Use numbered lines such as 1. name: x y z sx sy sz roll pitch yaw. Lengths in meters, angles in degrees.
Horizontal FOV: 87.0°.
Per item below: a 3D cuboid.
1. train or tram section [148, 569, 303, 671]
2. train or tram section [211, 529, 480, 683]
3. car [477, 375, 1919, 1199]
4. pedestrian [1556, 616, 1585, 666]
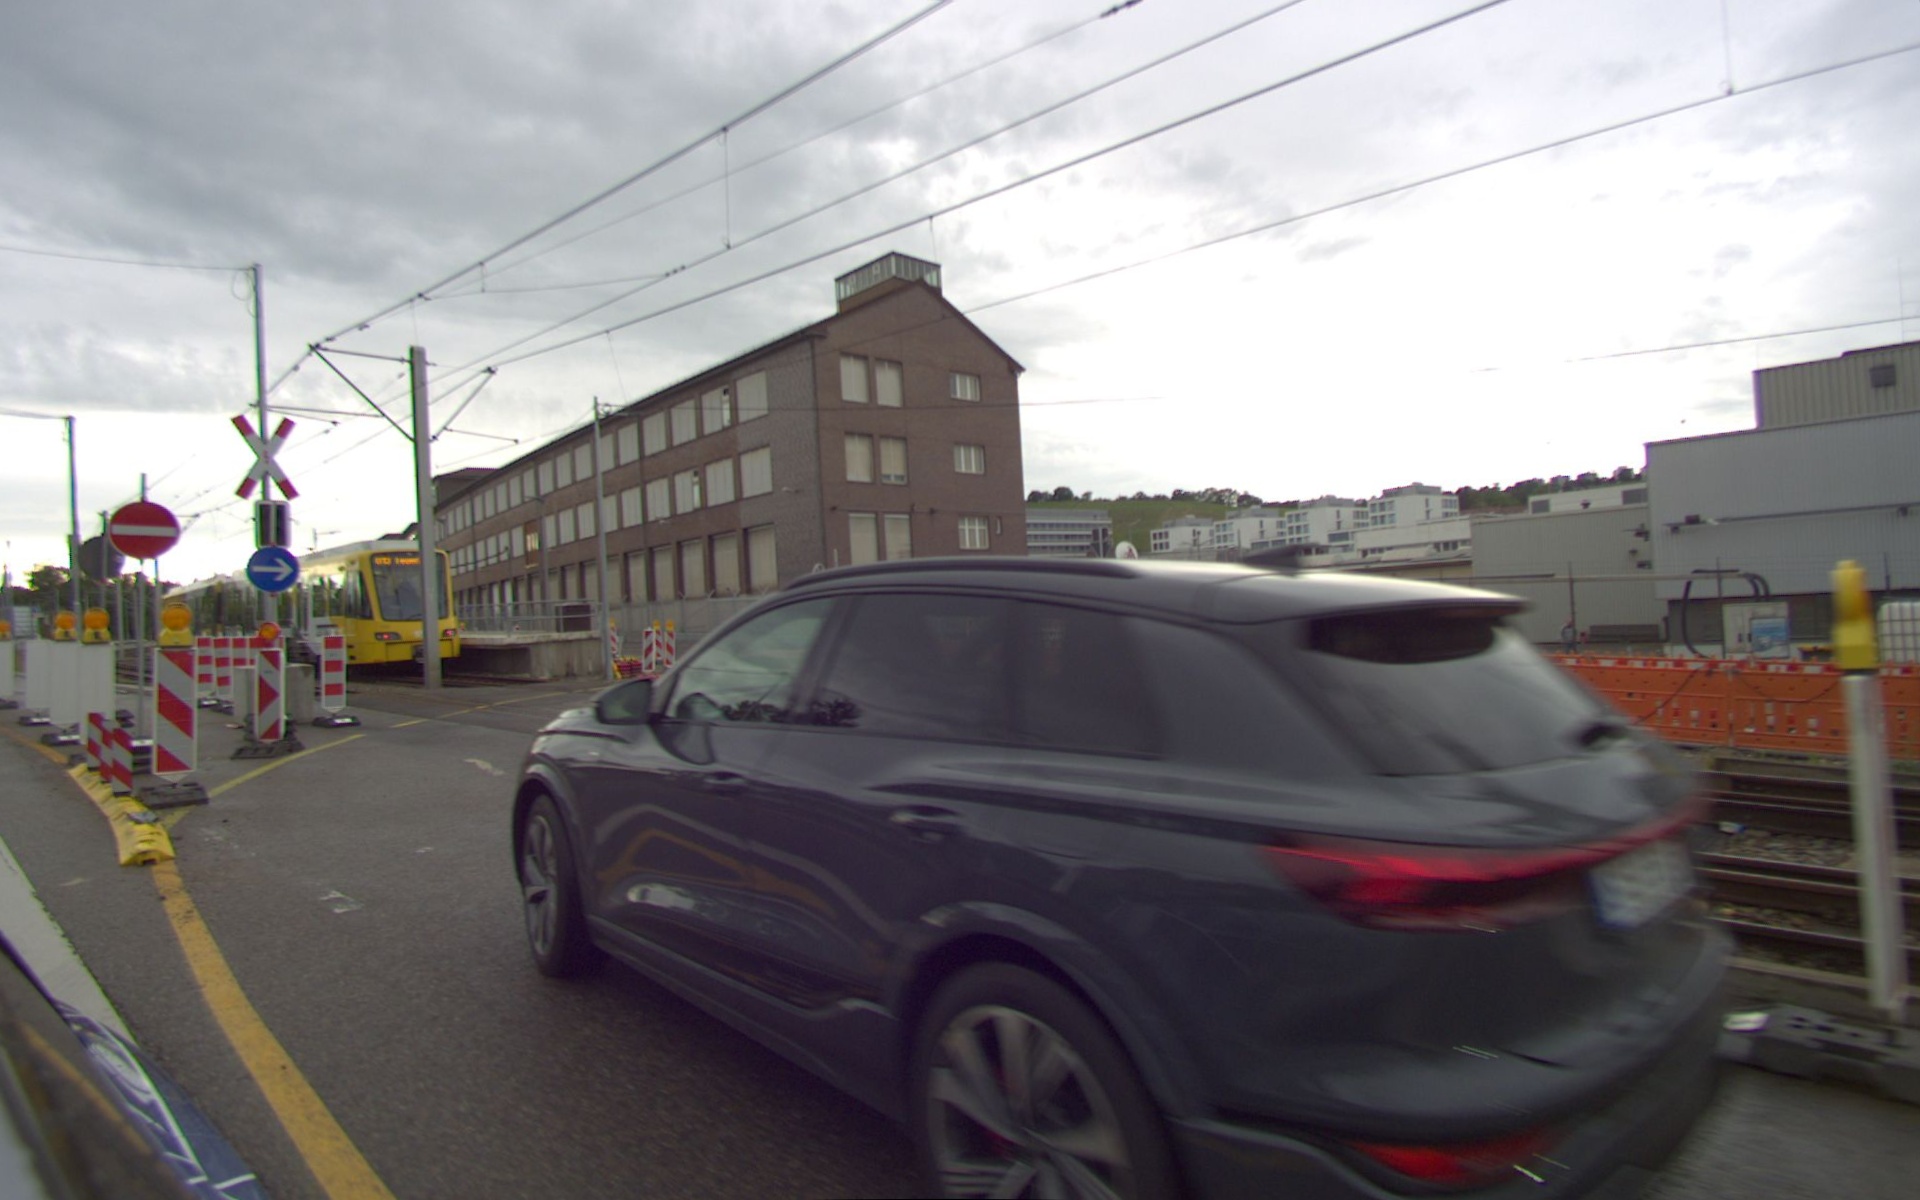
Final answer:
1. train or tram section: -34.849 1.075 47.380 2.921 3.915 19.584 -3 0 -44
2. train or tram section: -21.150 0.426 33.587 19.298 3.915 2.922 -3 0 45
3. car: 0.140 0.634 3.451 1.970 1.691 4.493 0 -1 -43
4. pedestrian: 22.162 1.480 36.722 0.763 1.804 0.700 -2 -1 40
